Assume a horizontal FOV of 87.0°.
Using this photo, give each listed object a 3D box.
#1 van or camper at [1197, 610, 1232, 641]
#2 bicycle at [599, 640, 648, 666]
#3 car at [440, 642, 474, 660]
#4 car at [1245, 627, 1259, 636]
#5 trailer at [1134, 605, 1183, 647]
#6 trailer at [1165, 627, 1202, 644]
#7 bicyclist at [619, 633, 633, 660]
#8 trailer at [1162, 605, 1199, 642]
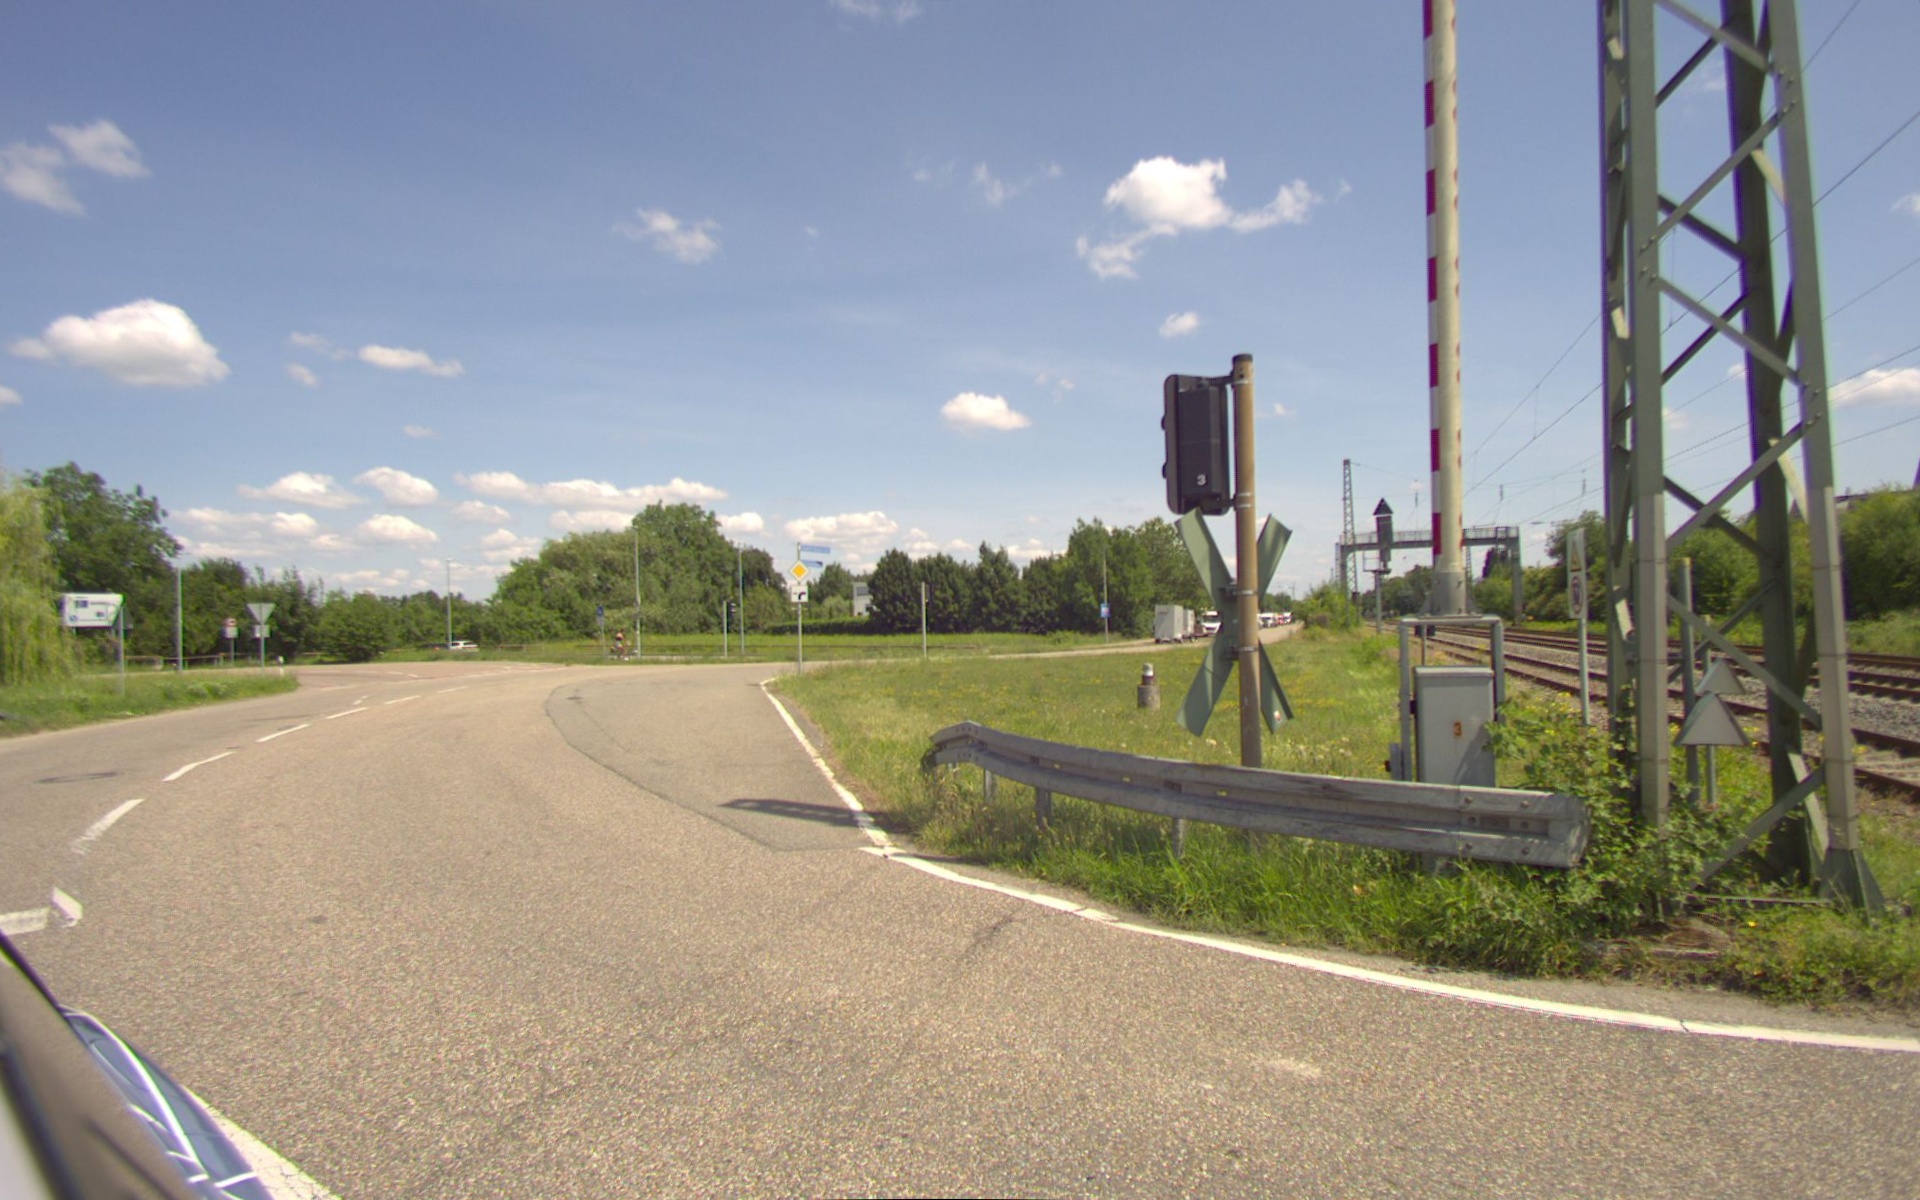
[{"bbox_3d":[24.177,2.434,95.938,2.429,2.848,7.571,-1,-1,20],"label":"van or camper"},{"bbox_3d":[-16.304,2.560,49.068,2.113,1.173,0.662,-1,-2,-41],"label":"bicycle"},{"bbox_3d":[-46.338,4.701,93.230,3.108,1.516,1.403,-5,-2,33],"label":"car"},{"bbox_3d":[40.117,4.295,139.041,1.573,1.238,3.758,-2,-2,21],"label":"car"},{"bbox_3d":[13.293,1.713,67.601,1.929,2.664,5.137,0,-1,26],"label":"trailer"},{"bbox_3d":[17.427,2.756,78.798,1.998,1.131,4.454,0,0,23],"label":"trailer"},{"bbox_3d":[-16.215,2.254,49.088,0.503,1.265,0.470,1,-3,-41],"label":"bicyclist"},{"bbox_3d":[15.801,1.665,72.350,1.911,2.527,4.708,0,-1,21],"label":"trailer"}]
